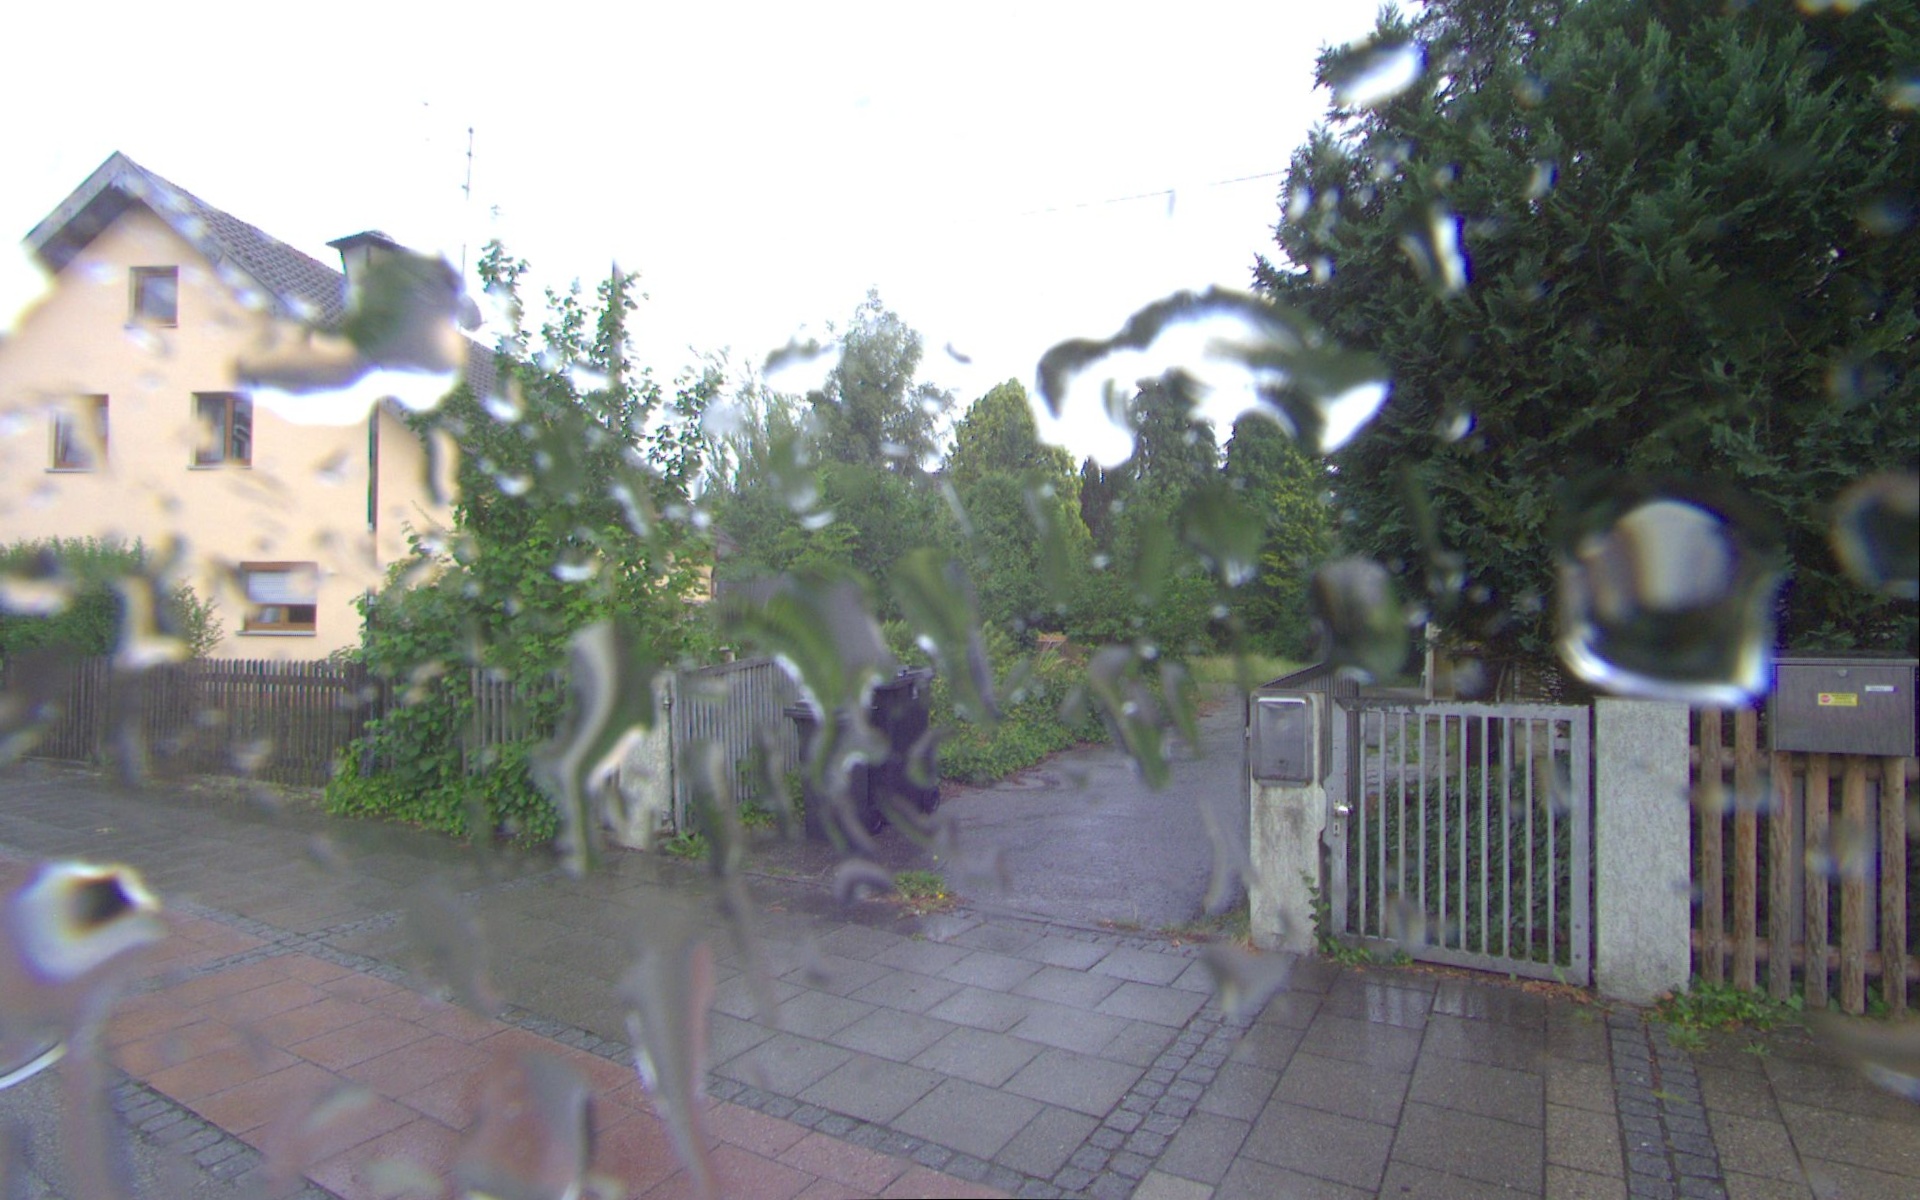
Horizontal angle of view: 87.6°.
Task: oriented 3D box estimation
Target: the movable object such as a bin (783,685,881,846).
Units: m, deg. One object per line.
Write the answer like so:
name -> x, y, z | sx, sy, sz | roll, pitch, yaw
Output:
movable object such as a bin -> -0.824, 1.051, 6.487 | 0.440, 0.948, 0.432 | -1, 1, 33

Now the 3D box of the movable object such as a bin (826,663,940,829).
movable object such as a bin -> -0.535, 0.990, 7.014 | 0.545, 1.054, 0.574 | -1, 1, 33
